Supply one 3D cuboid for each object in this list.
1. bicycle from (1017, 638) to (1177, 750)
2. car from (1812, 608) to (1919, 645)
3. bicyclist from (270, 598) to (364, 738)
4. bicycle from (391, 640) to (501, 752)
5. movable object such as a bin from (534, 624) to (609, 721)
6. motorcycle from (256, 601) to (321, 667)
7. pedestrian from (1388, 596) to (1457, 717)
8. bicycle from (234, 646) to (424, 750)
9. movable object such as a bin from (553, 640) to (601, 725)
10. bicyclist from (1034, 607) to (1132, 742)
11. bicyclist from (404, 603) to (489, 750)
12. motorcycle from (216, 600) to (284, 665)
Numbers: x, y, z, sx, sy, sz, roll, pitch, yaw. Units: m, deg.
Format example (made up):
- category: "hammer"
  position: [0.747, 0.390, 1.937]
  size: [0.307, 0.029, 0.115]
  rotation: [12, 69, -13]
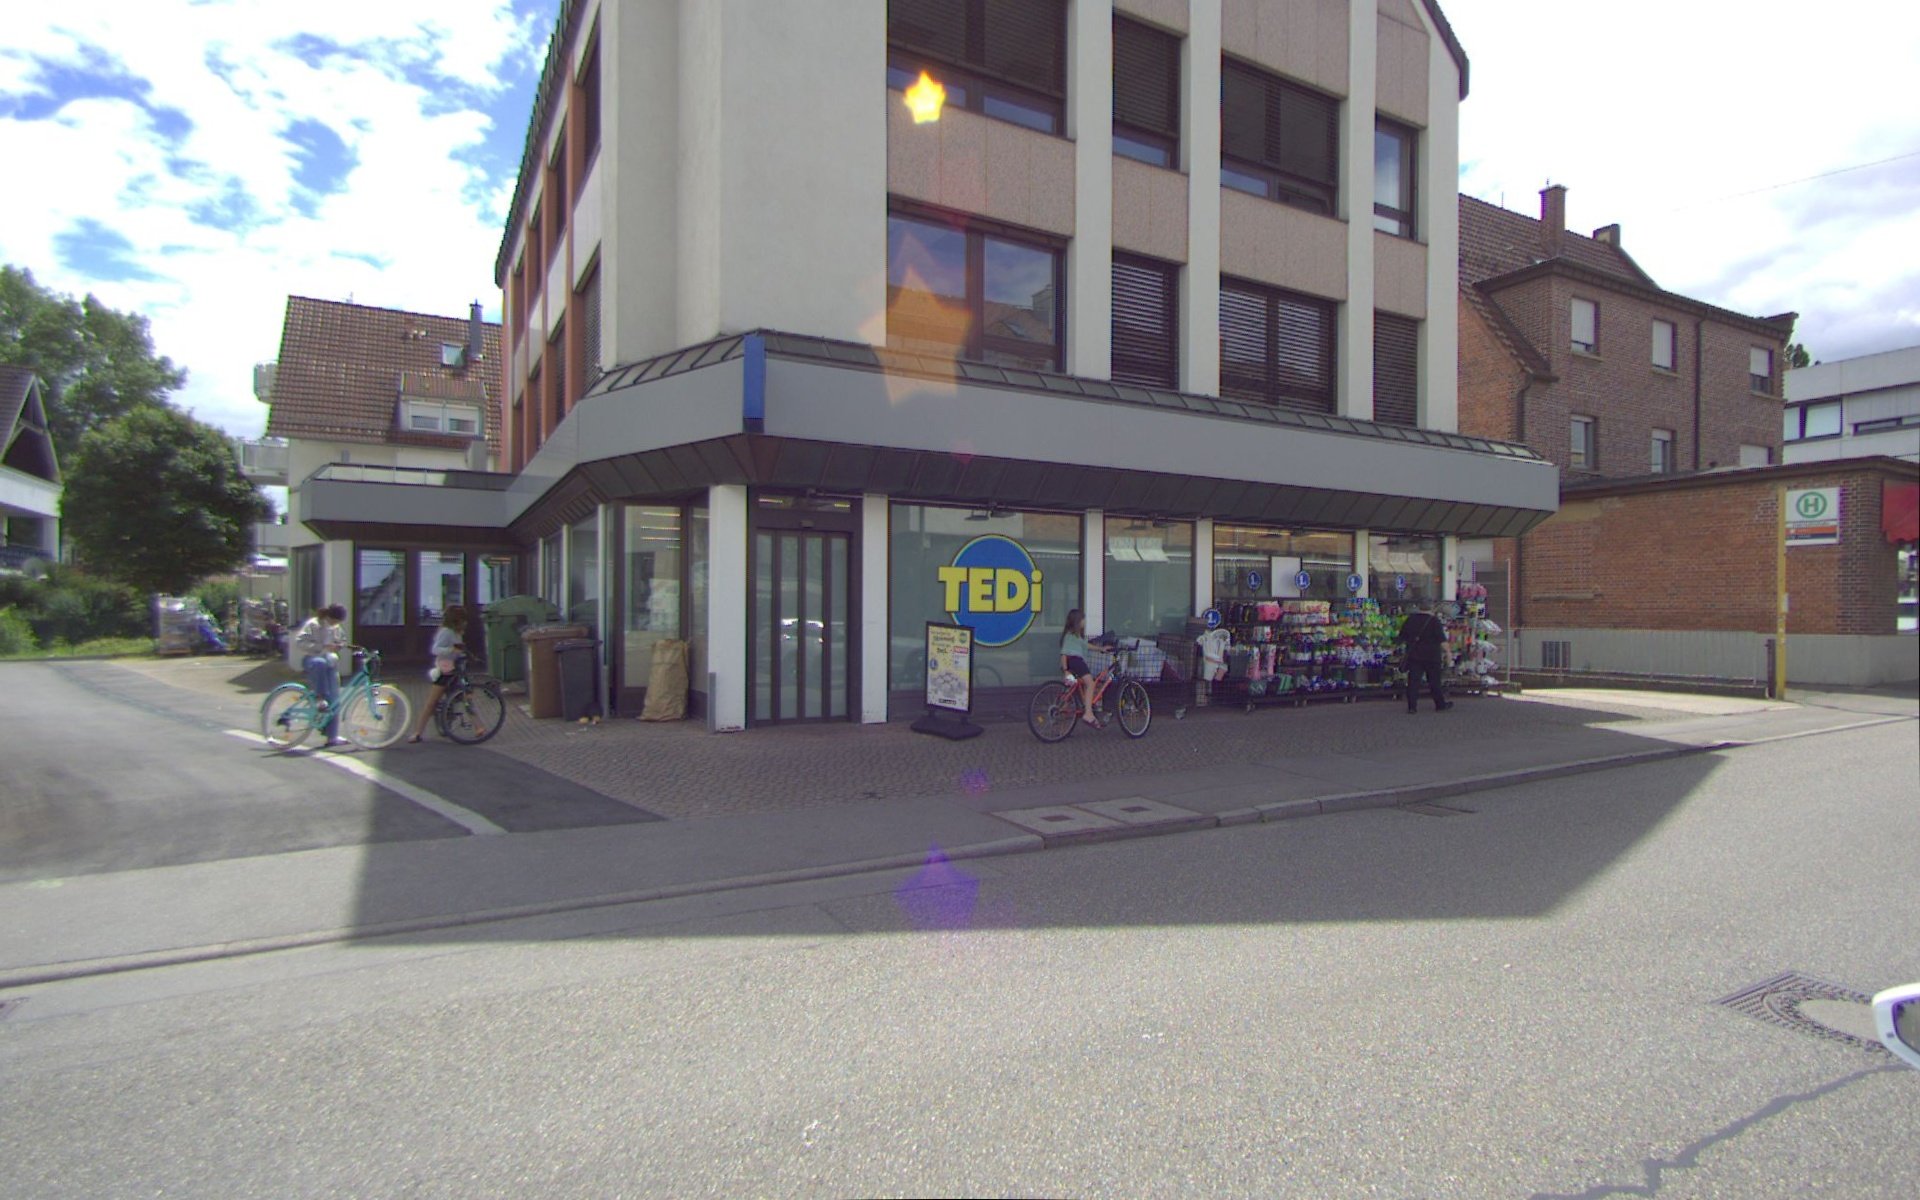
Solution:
- category: "bicycle"
  position: [1.475, 0.969, 10.707]
  size: [1.714, 1.064, 0.441]
  rotation: [1, 6, -31]
- category: "car"
  position: [35.017, 0.994, 37.810]
  size: [4.283, 1.355, 1.994]
  rotation: [-1, -1, 34]
- category: "bicyclist"
  position: [-6.031, 0.624, 9.443]
  size: [0.418, 1.258, 0.642]
  rotation: [1, 0, 3]
- category: "bicycle"
  position: [-5.199, 0.922, 10.117]
  size: [0.551, 0.967, 1.669]
  rotation: [0, 0, -43]
- category: "movable object such as a bin"
  position: [-4.712, 0.859, 12.182]
  size: [0.729, 1.080, 0.680]
  rotation: [-2, 1, -30]
- category: "motorcycle"
  position: [-16.837, 0.812, 25.258]
  size: [0.849, 1.539, 3.778]
  rotation: [1, -1, -26]
- category: "pedestrian"
  position: [6.329, 0.761, 13.774]
  size: [0.757, 1.579, 0.574]
  rotation: [2, 0, 20]
- category: "bicycle"
  position: [-5.925, 0.907, 9.456]
  size: [1.557, 0.929, 0.459]
  rotation: [0, 0, 6]
- category: "movable object such as a bin"
  position: [-4.423, 0.941, 11.594]
  size: [0.438, 0.923, 0.405]
  rotation: [-2, 1, -30]
- category: "bicyclist"
  position: [1.315, 0.775, 10.821]
  size: [0.753, 1.355, 0.664]
  rotation: [0, 4, -30]
- category: "bicyclist"
  position: [-5.047, 0.733, 9.894]
  size: [0.416, 1.384, 0.589]
  rotation: [-1, 1, 17]
- category: "motorcycle"
  position: [-18.220, 0.806, 25.868]
  size: [0.849, 1.539, 3.595]
  rotation: [1, -1, -26]
